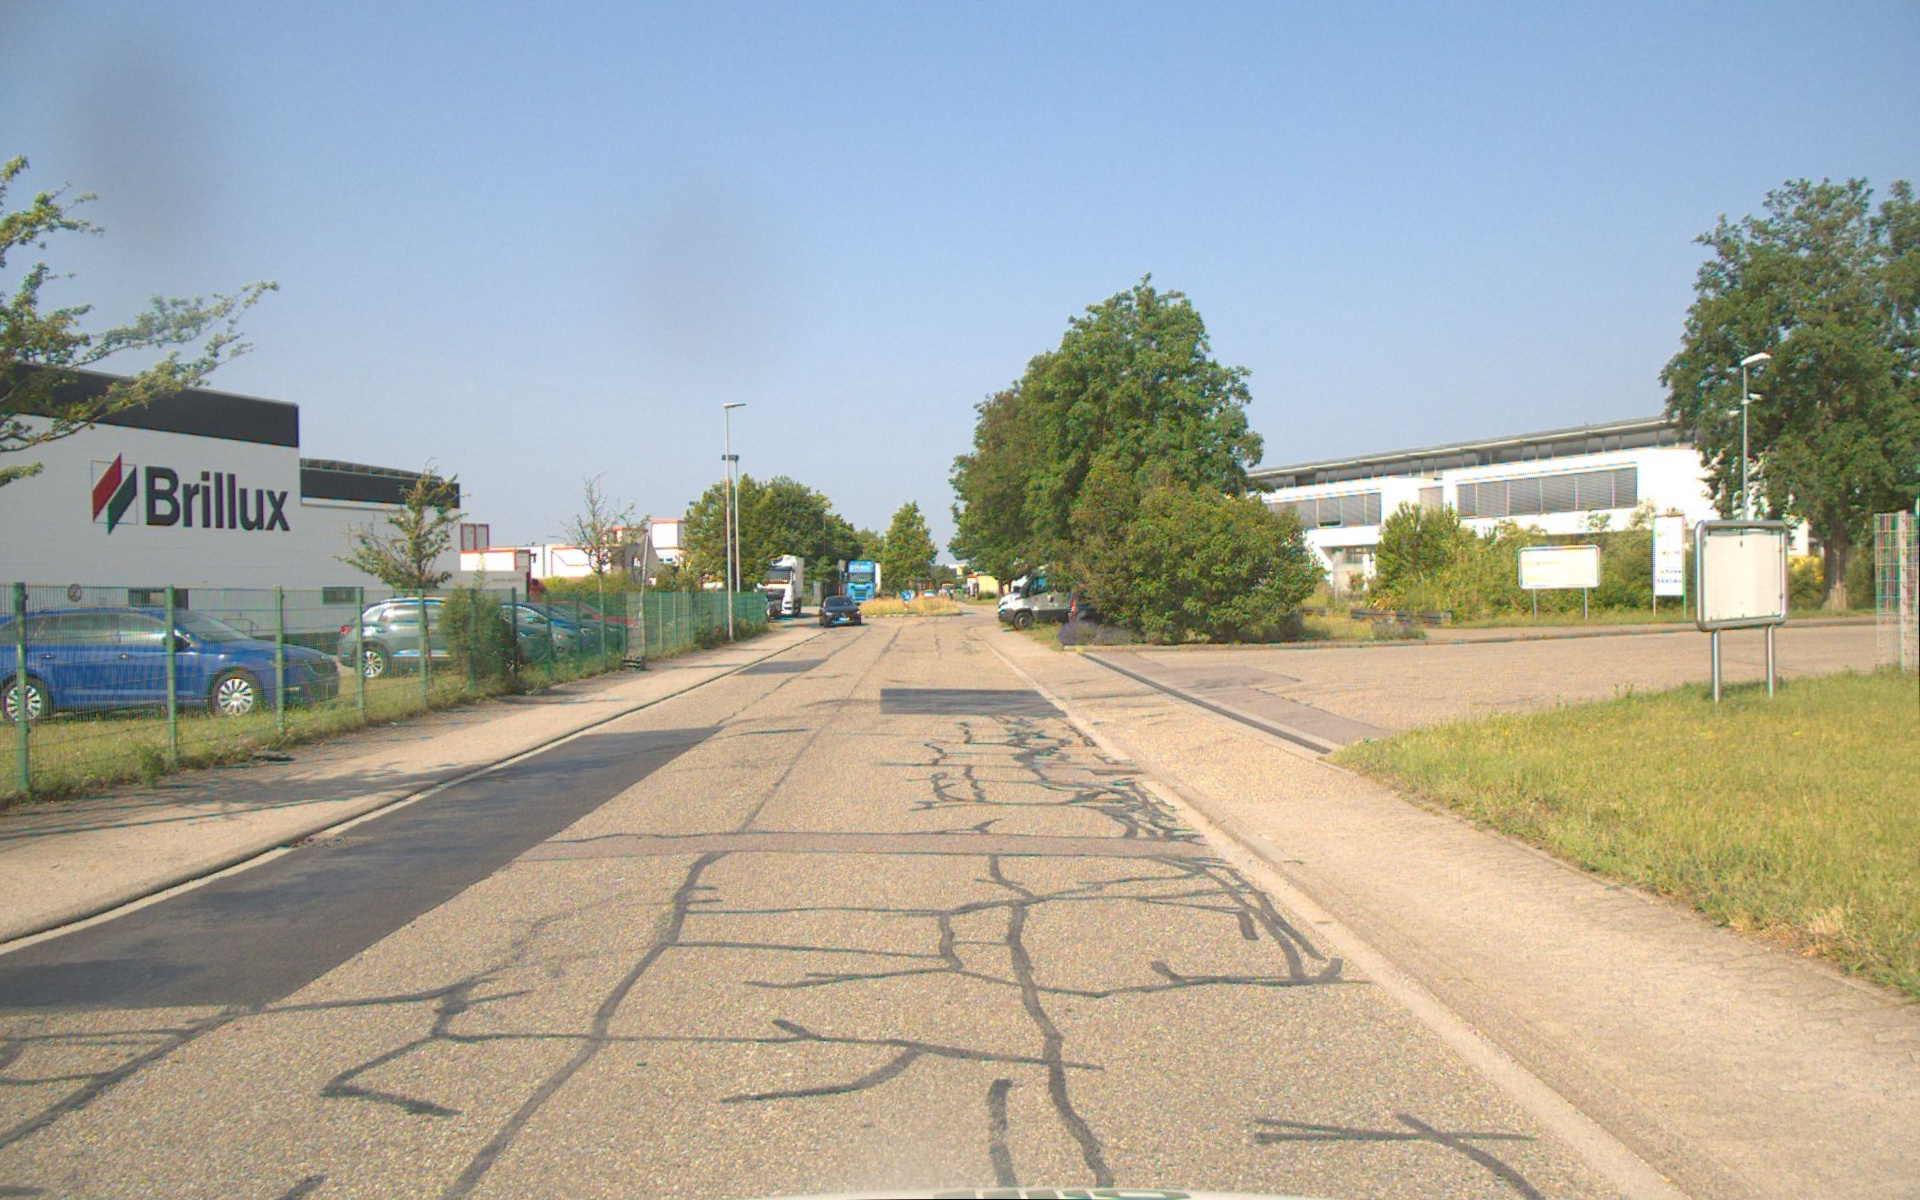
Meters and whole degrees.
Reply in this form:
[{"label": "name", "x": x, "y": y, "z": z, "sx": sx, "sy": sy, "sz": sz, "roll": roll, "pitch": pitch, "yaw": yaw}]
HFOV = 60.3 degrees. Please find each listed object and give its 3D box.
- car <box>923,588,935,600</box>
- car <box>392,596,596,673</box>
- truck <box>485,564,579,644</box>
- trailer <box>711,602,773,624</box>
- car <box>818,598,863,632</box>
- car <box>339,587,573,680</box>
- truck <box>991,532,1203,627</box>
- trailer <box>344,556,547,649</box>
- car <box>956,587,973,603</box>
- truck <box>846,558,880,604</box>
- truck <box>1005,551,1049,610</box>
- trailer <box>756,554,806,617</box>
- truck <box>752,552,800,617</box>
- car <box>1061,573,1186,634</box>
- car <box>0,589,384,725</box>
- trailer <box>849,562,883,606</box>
[{"label": "car", "x": -4.639, "y": -0.870, "z": 249.566, "sx": 1.684, "sy": 1.690, "sz": 3.821, "roll": 1, "pitch": -1, "yaw": -3}, {"label": "car", "x": -10.324, "y": 0.746, "z": 36.875, "sx": 3.959, "sy": 1.469, "sz": 1.873, "roll": -3, "pitch": 0, "yaw": -2}, {"label": "truck", "x": -22.702, "y": 0.238, "z": 88.004, "sx": 2.459, "sy": 4.143, "sz": 5.547, "roll": 0, "pitch": -1, "yaw": 14}, {"label": "trailer", "x": -11.184, "y": 0.658, "z": 85.349, "sx": 2.496, "sy": 0.941, "sz": 6.707, "roll": 2, "pitch": 0, "yaw": -2}, {"label": "car", "x": -5.751, "y": 0.709, "z": 79.830, "sx": 1.954, "sy": 1.474, "sz": 4.417, "roll": -4, "pitch": 0, "yaw": -3}, {"label": "car", "x": -10.005, "y": 0.652, "z": 33.074, "sx": 4.044, "sy": 1.595, "sz": 1.864, "roll": -3, "pitch": 0, "yaw": -2}, {"label": "truck", "x": 5.366, "y": -0.786, "z": 65.626, "sx": 8.044, "sy": 3.429, "sz": 2.740, "roll": -2, "pitch": -1, "yaw": -2}, {"label": "trailer", "x": -24.596, "y": 0.218, "z": 80.315, "sx": 2.429, "sy": 4.112, "sz": 13.898, "roll": 0, "pitch": -1, "yaw": 14}, {"label": "car", "x": 0.503, "y": -0.521, "z": 190.339, "sx": 1.756, "sy": 1.780, "sz": 3.998, "roll": 1, "pitch": -1, "yaw": -2}, {"label": "truck", "x": -8.716, "y": -1.623, "z": 149.444, "sx": 2.768, "sy": 3.893, "sz": 9.669, "roll": 1, "pitch": -1, "yaw": -1}, {"label": "truck", "x": 4.777, "y": -1.390, "z": 118.889, "sx": 2.690, "sy": 4.050, "sz": 3.999, "roll": -4, "pitch": 0, "yaw": -1}, {"label": "trailer", "x": -11.803, "y": -0.879, "z": 109.394, "sx": 2.645, "sy": 3.990, "sz": 7.572, "roll": 1, "pitch": -1, "yaw": -2}, {"label": "truck", "x": -11.659, "y": -0.940, "z": 104.979, "sx": 2.654, "sy": 3.990, "sz": 4.295, "roll": 1, "pitch": -1, "yaw": -2}, {"label": "car", "x": 5.389, "y": 0.100, "z": 54.983, "sx": 3.905, "sy": 1.870, "sz": 2.000, "roll": -2, "pitch": 0, "yaw": 0}, {"label": "car", "x": -10.171, "y": 0.713, "z": 21.498, "sx": 4.592, "sy": 1.469, "sz": 2.077, "roll": -3, "pitch": 0, "yaw": -2}, {"label": "trailer", "x": -8.983, "y": -1.458, "z": 159.083, "sx": 2.774, "sy": 3.910, "sz": 12.031, "roll": 1, "pitch": -1, "yaw": -1}]
